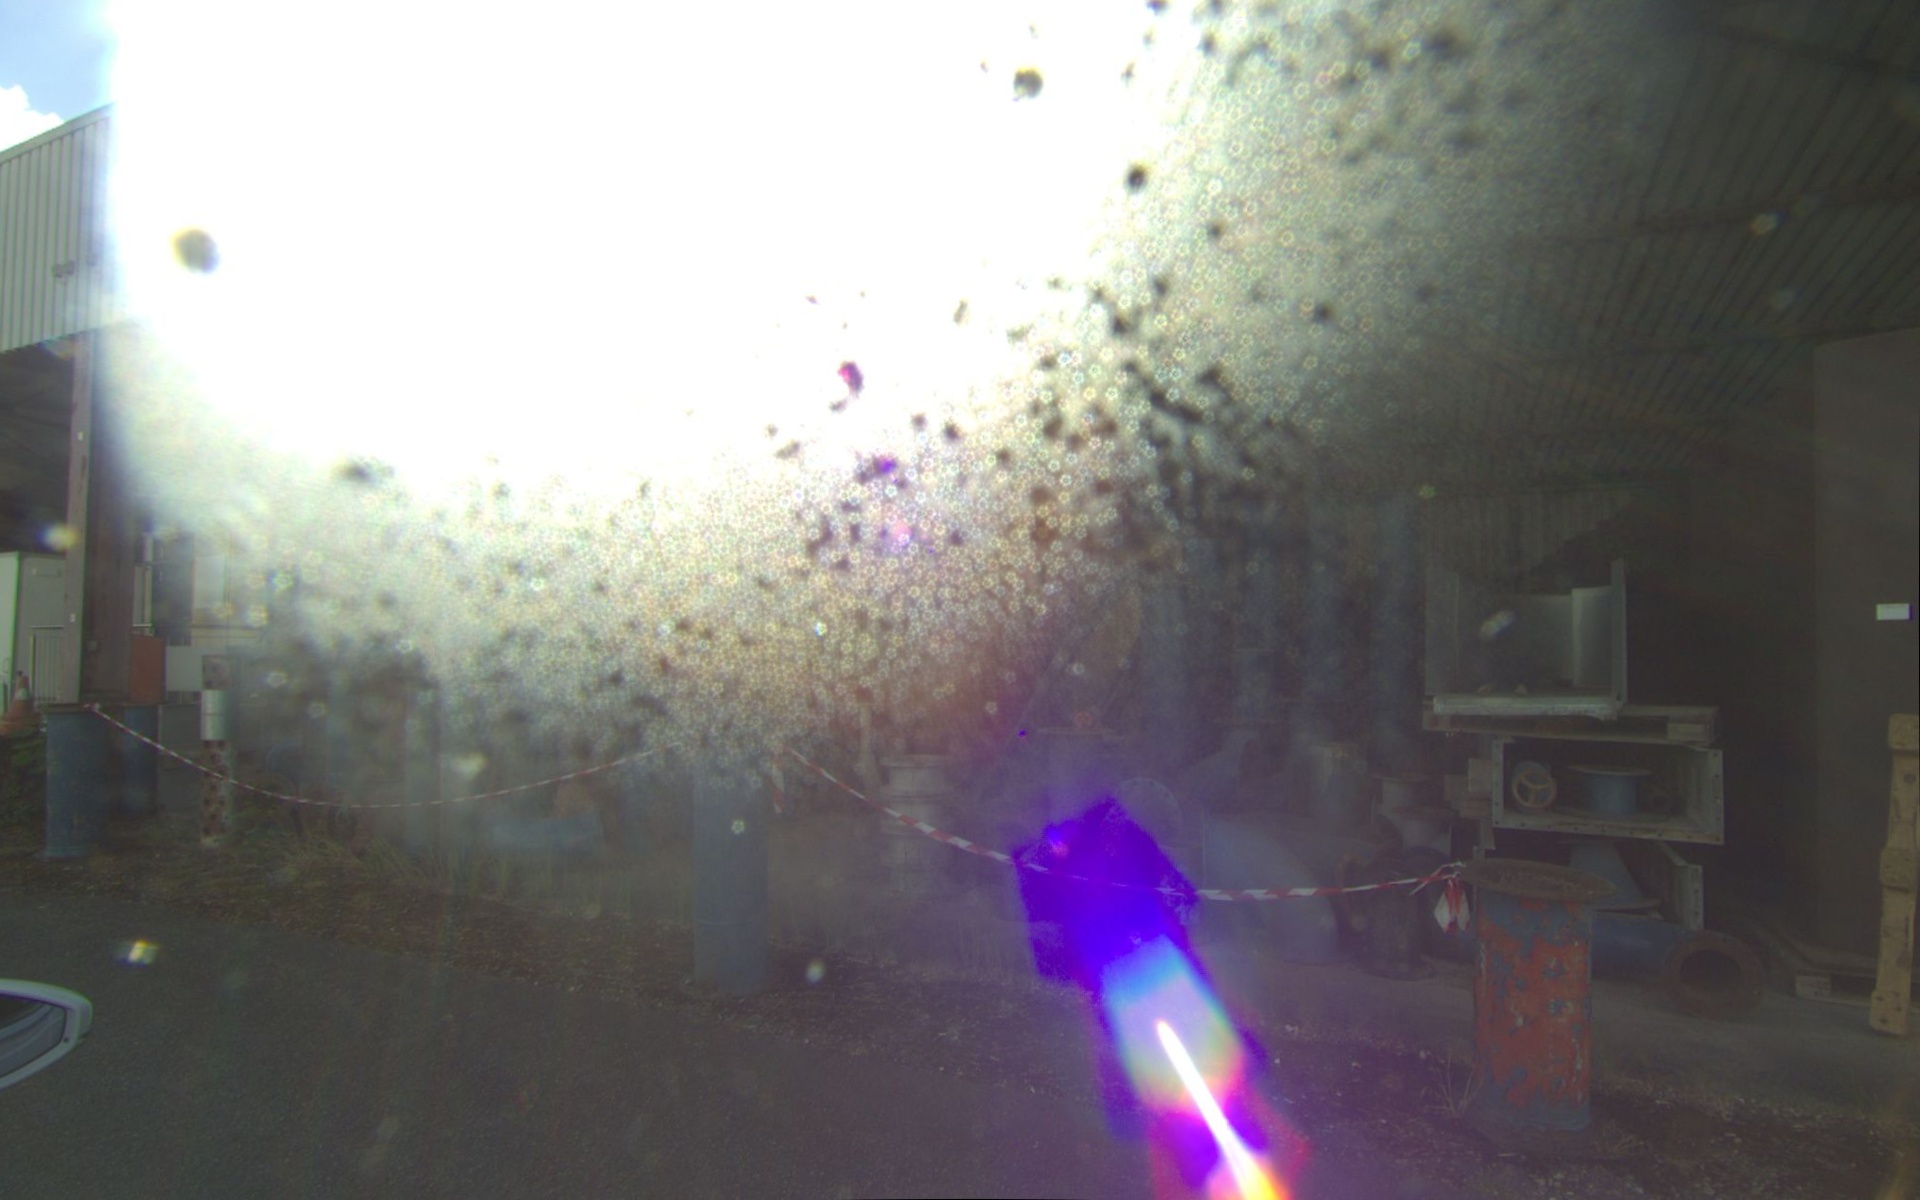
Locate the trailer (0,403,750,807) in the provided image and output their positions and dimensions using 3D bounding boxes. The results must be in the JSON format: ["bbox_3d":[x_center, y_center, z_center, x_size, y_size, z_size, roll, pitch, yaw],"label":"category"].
[{"bbox_3d":[-7.038,0.206,13.134,2.632,3.337,10.295,0,-2,26],"label":"trailer"}]

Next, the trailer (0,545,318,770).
[{"bbox_3d":[-10.398,0.651,11.822,1.661,2.365,4.542,0,-2,26],"label":"trailer"}]

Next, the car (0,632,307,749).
[{"bbox_3d":[-12.061,1.188,14.285,1.833,1.451,4.349,-1,-2,22],"label":"car"}]

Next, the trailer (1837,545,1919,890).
[{"bbox_3d":[6.086,0.642,4.600,2.015,2.022,4.815,-1,-2,28],"label":"trailer"}]

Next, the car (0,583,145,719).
[{"bbox_3d":[-17.541,0.871,17.098,2.050,2.326,5.220,-1,-3,25],"label":"car"}]

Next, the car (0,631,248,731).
[{"bbox_3d":[-14.391,1.260,16.397,1.820,1.472,4.109,-1,-2,25],"label":"car"}]
